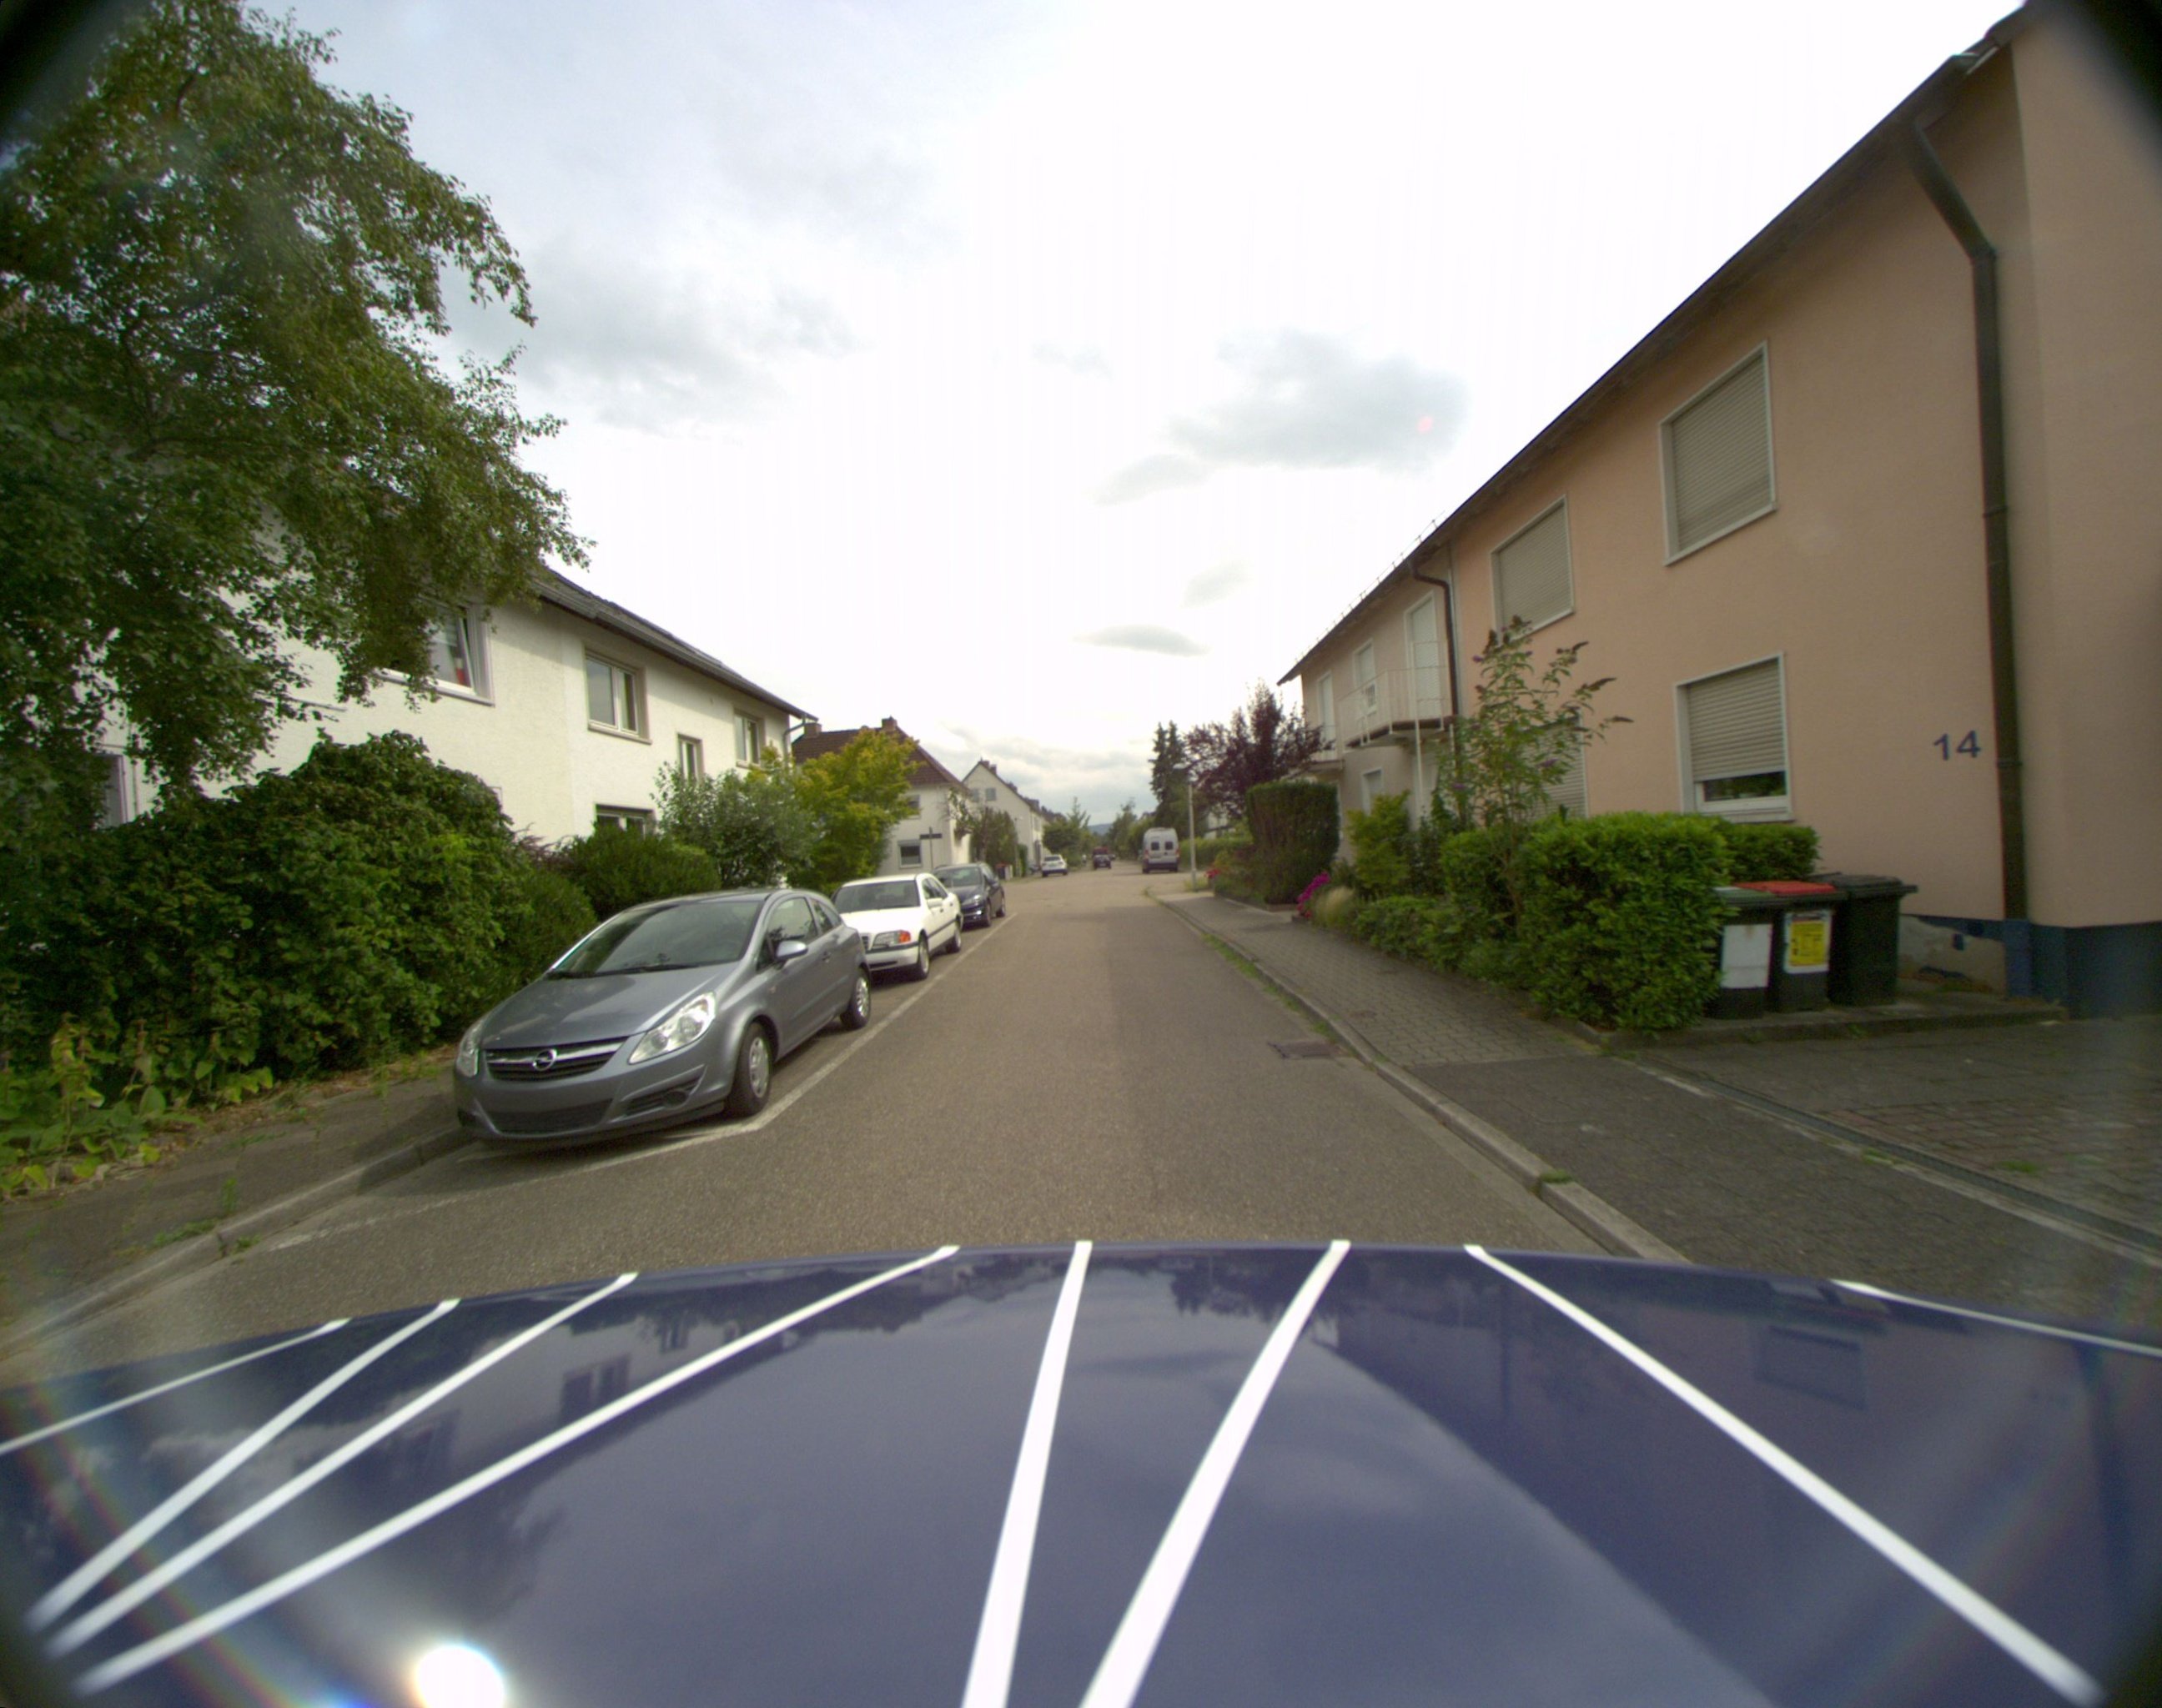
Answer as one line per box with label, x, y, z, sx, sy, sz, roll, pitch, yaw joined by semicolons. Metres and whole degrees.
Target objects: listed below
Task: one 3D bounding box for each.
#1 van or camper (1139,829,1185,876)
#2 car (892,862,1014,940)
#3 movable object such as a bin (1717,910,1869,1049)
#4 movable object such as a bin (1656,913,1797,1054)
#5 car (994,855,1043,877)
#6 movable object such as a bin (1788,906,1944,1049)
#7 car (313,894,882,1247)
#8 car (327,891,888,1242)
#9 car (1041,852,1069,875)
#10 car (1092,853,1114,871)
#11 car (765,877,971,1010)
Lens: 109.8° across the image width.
van or camper;5.125;-0.092;49.018;2.346;2.719;5.748;-4;0;2
car;-2.892;1.010;18.268;1.872;1.431;4.851;-4;0;2
movable object such as a bin;5.064;0.872;5.432;0.539;0.875;0.534;-4;0;1
movable object such as a bin;4.521;0.887;5.348;0.497;0.876;0.530;-4;0;1
car;-5.600;1.035;68.473;3.996;1.696;2.000;-4;0;2
movable object such as a bin;5.581;0.856;5.429;0.481;0.898;0.583;-3;1;1
car;-2.983;1.199;5.945;1.746;1.462;4.216;-4;0;-2
car;-2.939;1.185;5.985;1.707;1.434;4.220;-5;0;-1
car;-2.003;0.743;58.790;1.999;1.590;3.999;-4;0;-2
car;2.325;0.792;78.782;1.998;1.696;4.001;-4;0;5
car;-2.924;1.156;11.580;1.697;1.357;4.698;-4;0;0
